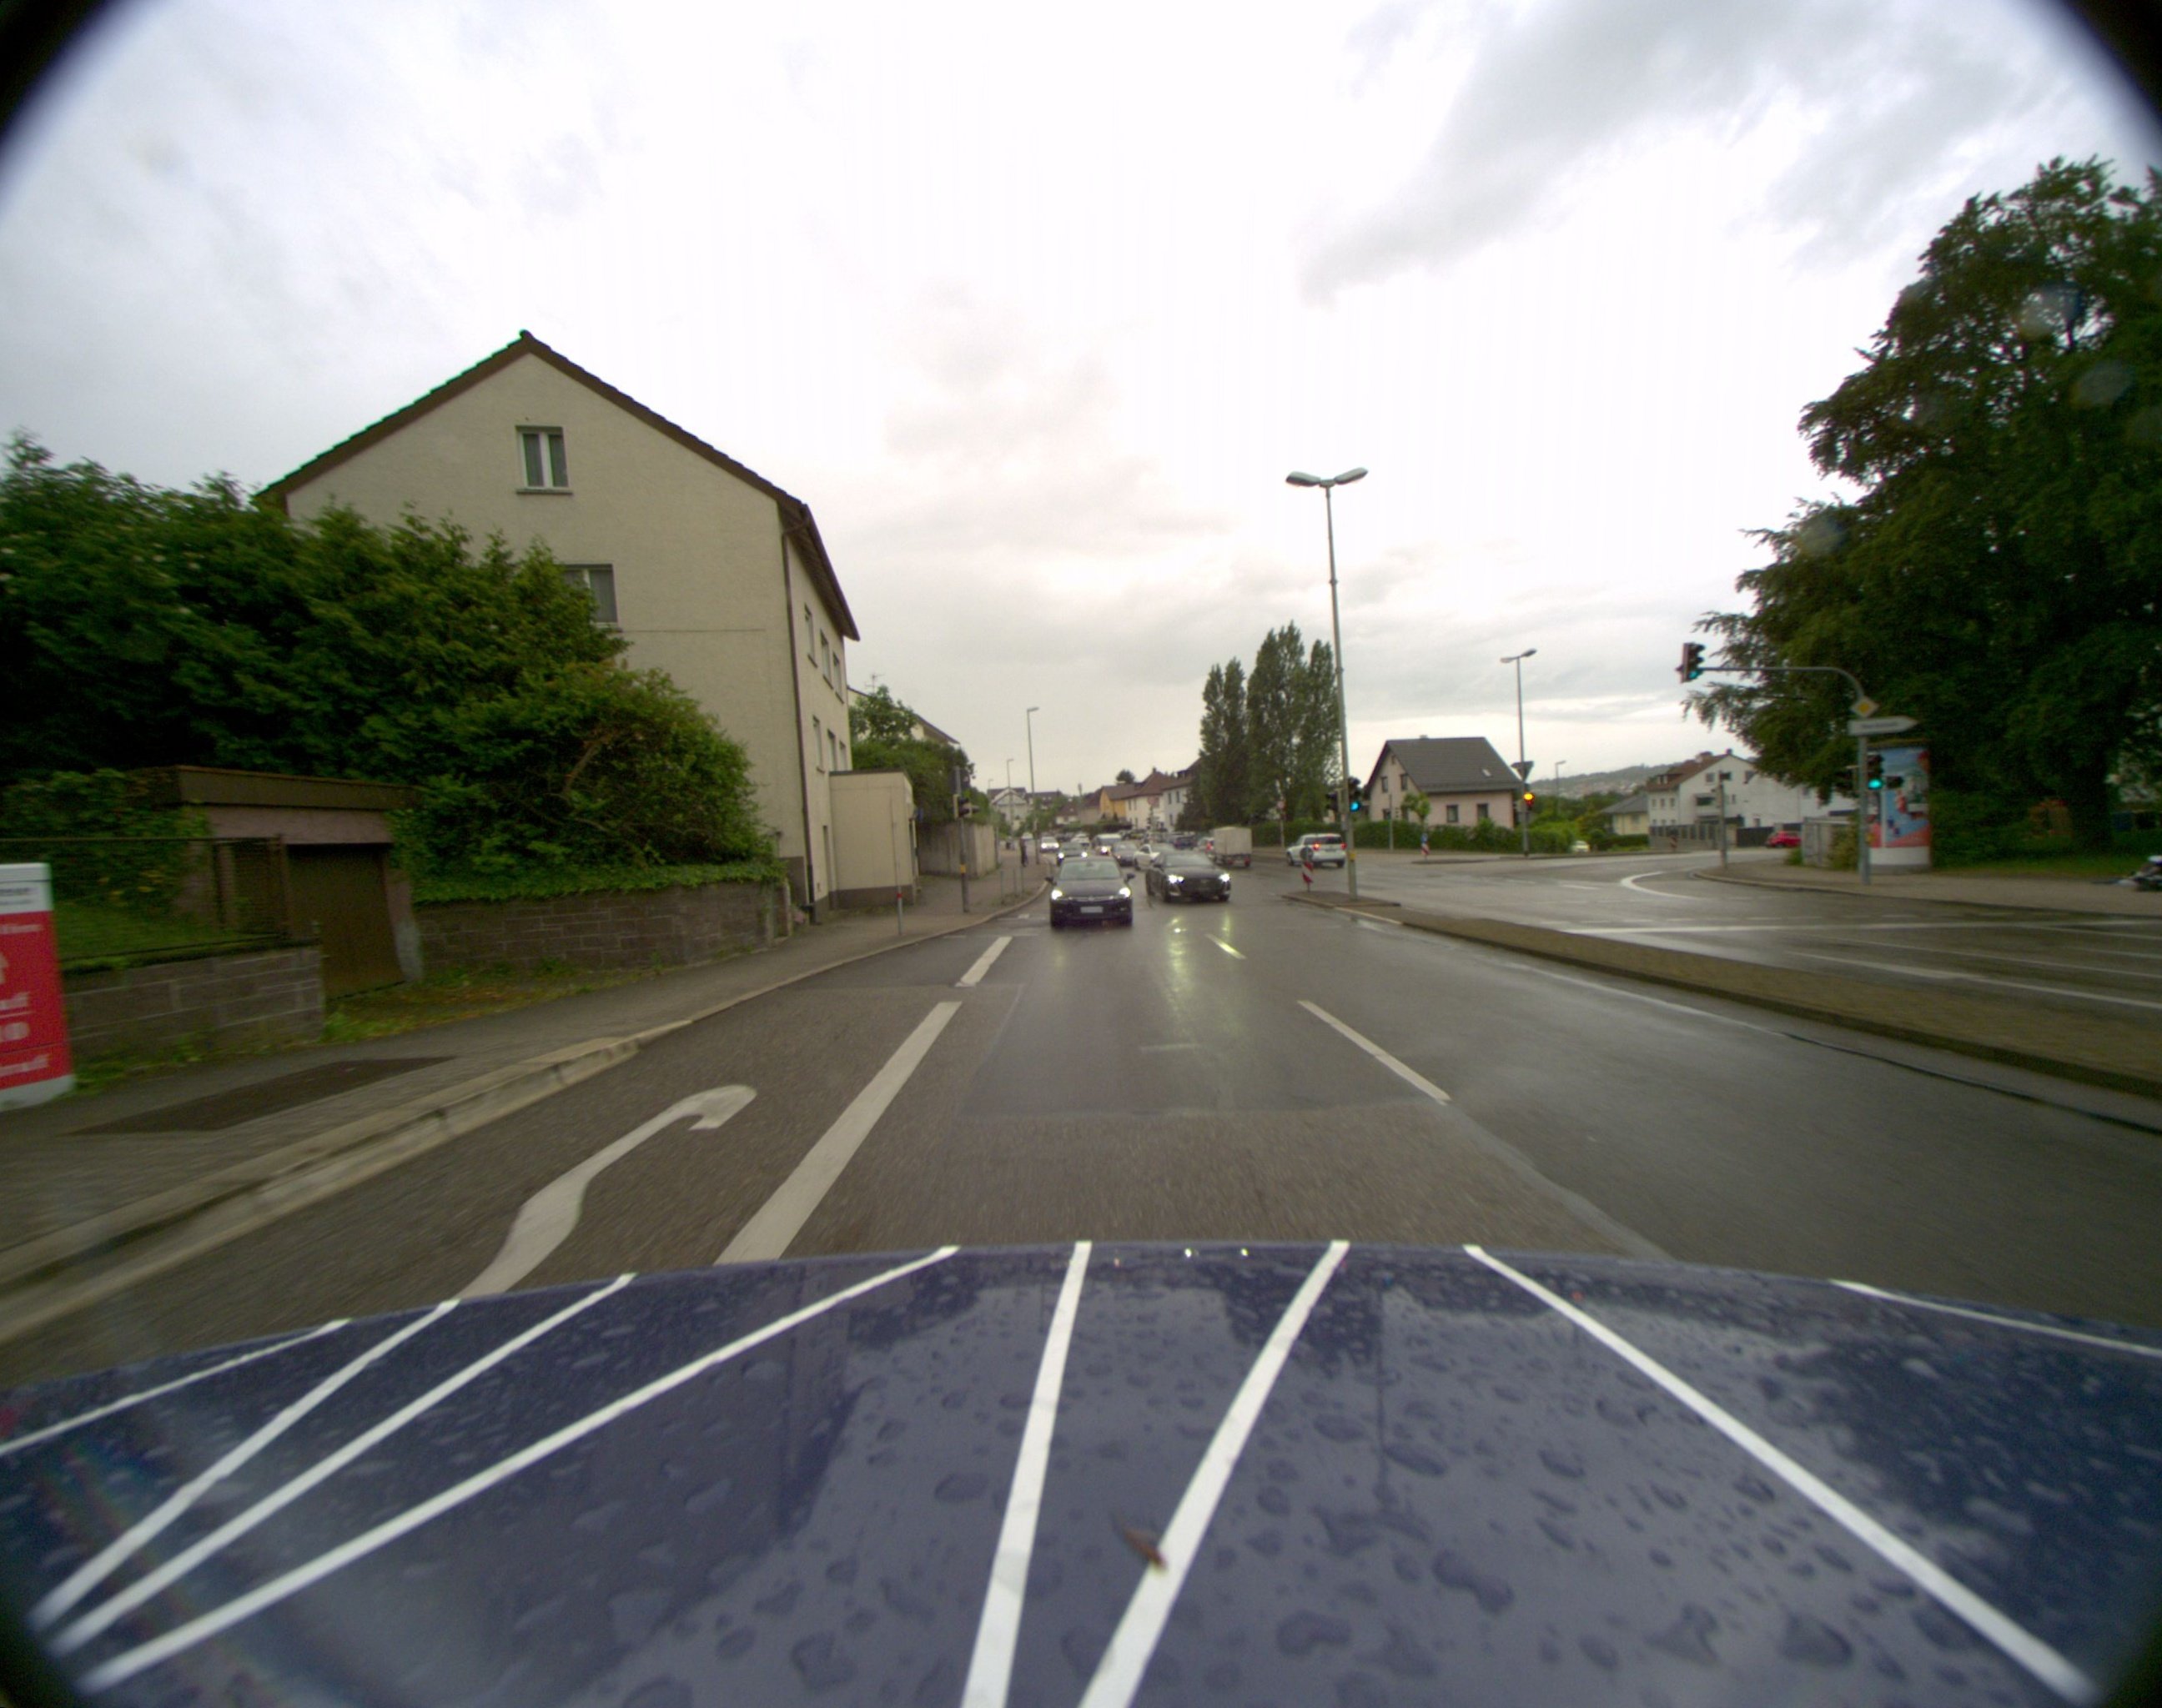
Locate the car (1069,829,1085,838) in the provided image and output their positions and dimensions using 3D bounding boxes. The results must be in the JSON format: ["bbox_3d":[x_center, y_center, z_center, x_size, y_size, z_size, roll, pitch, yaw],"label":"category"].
[{"bbox_3d":[-0.668,-3.383,122.809,1.811,1.408,3.994,-2,3,-12],"label":"car"}]

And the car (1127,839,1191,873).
[{"bbox_3d":[4.060,0.066,40.369,1.915,1.520,4.644,-3,3,-13],"label":"car"}]

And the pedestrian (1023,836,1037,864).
[{"bbox_3d":[-3.308,-0.267,49.258,0.796,1.771,1.011,-1,3,-3],"label":"pedestrian"}]

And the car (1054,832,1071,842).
[{"bbox_3d":[-2.694,-2.537,112.142,1.859,1.456,3.995,-3,2,-10],"label":"car"}]

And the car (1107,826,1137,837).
[{"bbox_3d":[6.147,-3.414,114.245,4.115,1.475,1.837,1,1,-16],"label":"car"}]

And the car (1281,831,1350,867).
[{"bbox_3d":[11.867,-0.315,38.753,1.829,1.648,4.463,-2,2,-4],"label":"car"}]

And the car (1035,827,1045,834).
[{"bbox_3d":[-10.695,-6.135,198.125,2.000,1.565,3.995,-3,3,-9],"label":"car"}]

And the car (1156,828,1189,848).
[{"bbox_3d":[8.413,-1.542,70.221,1.810,1.660,4.592,-3,3,-9],"label":"car"}]

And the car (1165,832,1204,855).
[{"bbox_3d":[7.437,-0.791,55.050,1.846,1.543,4.380,-2,2,-5],"label":"car"}]

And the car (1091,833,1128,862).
[{"bbox_3d":[1.999,-0.510,54.756,1.957,1.861,4.742,-2,3,-5],"label":"car"}]

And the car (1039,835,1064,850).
[{"bbox_3d":[-3.028,-1.181,77.227,1.842,1.473,3.995,-2,1,-11],"label":"car"}]

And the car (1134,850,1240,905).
[{"bbox_3d":[3.038,0.627,22.917,1.911,1.390,4.853,-3,1,-7],"label":"car"}]

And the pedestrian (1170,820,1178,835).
[{"bbox_3d":[11.408,-3.215,93.021,0.670,1.779,0.539,-6,4,-5],"label":"pedestrian"}]

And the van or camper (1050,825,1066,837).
[{"bbox_3d":[-4.365,-4.373,142.753,2.191,2.003,5.127,-3,3,-10],"label":"van or camper"}]

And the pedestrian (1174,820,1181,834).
[{"bbox_3d":[12.066,-3.383,95.256,0.652,1.777,0.647,-5,2,15],"label":"pedestrian"}]

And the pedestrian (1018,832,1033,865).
[{"bbox_3d":[-3.480,-0.341,47.470,0.799,2.003,0.734,-3,3,-2],"label":"pedestrian"}]

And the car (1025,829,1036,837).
[{"bbox_3d":[-10.875,-4.575,163.565,1.838,1.522,3.995,-2,3,-9],"label":"car"}]

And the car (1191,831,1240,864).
[{"bbox_3d":[7.877,-0.432,44.957,1.904,1.674,4.476,-2,3,-2],"label":"car"}]

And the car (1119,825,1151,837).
[{"bbox_3d":[7.709,-3.354,108.501,4.112,1.412,1.882,-4,3,-9],"label":"car"}]

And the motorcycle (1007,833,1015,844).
[{"bbox_3d":[-8.311,-1.844,90.320,0.694,1.317,2.476,-2,3,-10],"label":"motorcycle"}]

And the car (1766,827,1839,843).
[{"bbox_3d":[61.046,-1.608,64.381,4.083,1.281,1.911,0,2,25],"label":"car"}]

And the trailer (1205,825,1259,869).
[{"bbox_3d":[8.008,-0.431,40.674,1.901,2.167,4.033,-2,2,-2],"label":"trailer"}]

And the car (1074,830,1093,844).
[{"bbox_3d":[0.257,-2.136,95.004,1.841,1.548,4.765,-2,3,-7],"label":"car"}]

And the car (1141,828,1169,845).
[{"bbox_3d":[7.408,-1.761,76.364,1.810,1.560,4.137,-3,3,-9],"label":"car"}]

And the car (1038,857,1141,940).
[{"bbox_3d":[0.307,0.844,16.173,1.840,1.390,4.000,-1,1,5],"label":"car"}]

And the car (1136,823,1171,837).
[{"bbox_3d":[9.382,-3.104,98.565,3.999,1.412,1.882,-5,3,-9],"label":"car"}]

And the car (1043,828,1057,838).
[{"bbox_3d":[-5.154,-3.433,125.464,1.717,1.494,3.995,-3,3,-10],"label":"car"}]

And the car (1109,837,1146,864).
[{"bbox_3d":[2.829,-0.244,47.274,1.840,1.479,4.056,-2,3,-3],"label":"car"}]

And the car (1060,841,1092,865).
[{"bbox_3d":[-0.390,-0.030,50.752,1.841,1.448,3.999,-2,-1,-4],"label":"car"}]
